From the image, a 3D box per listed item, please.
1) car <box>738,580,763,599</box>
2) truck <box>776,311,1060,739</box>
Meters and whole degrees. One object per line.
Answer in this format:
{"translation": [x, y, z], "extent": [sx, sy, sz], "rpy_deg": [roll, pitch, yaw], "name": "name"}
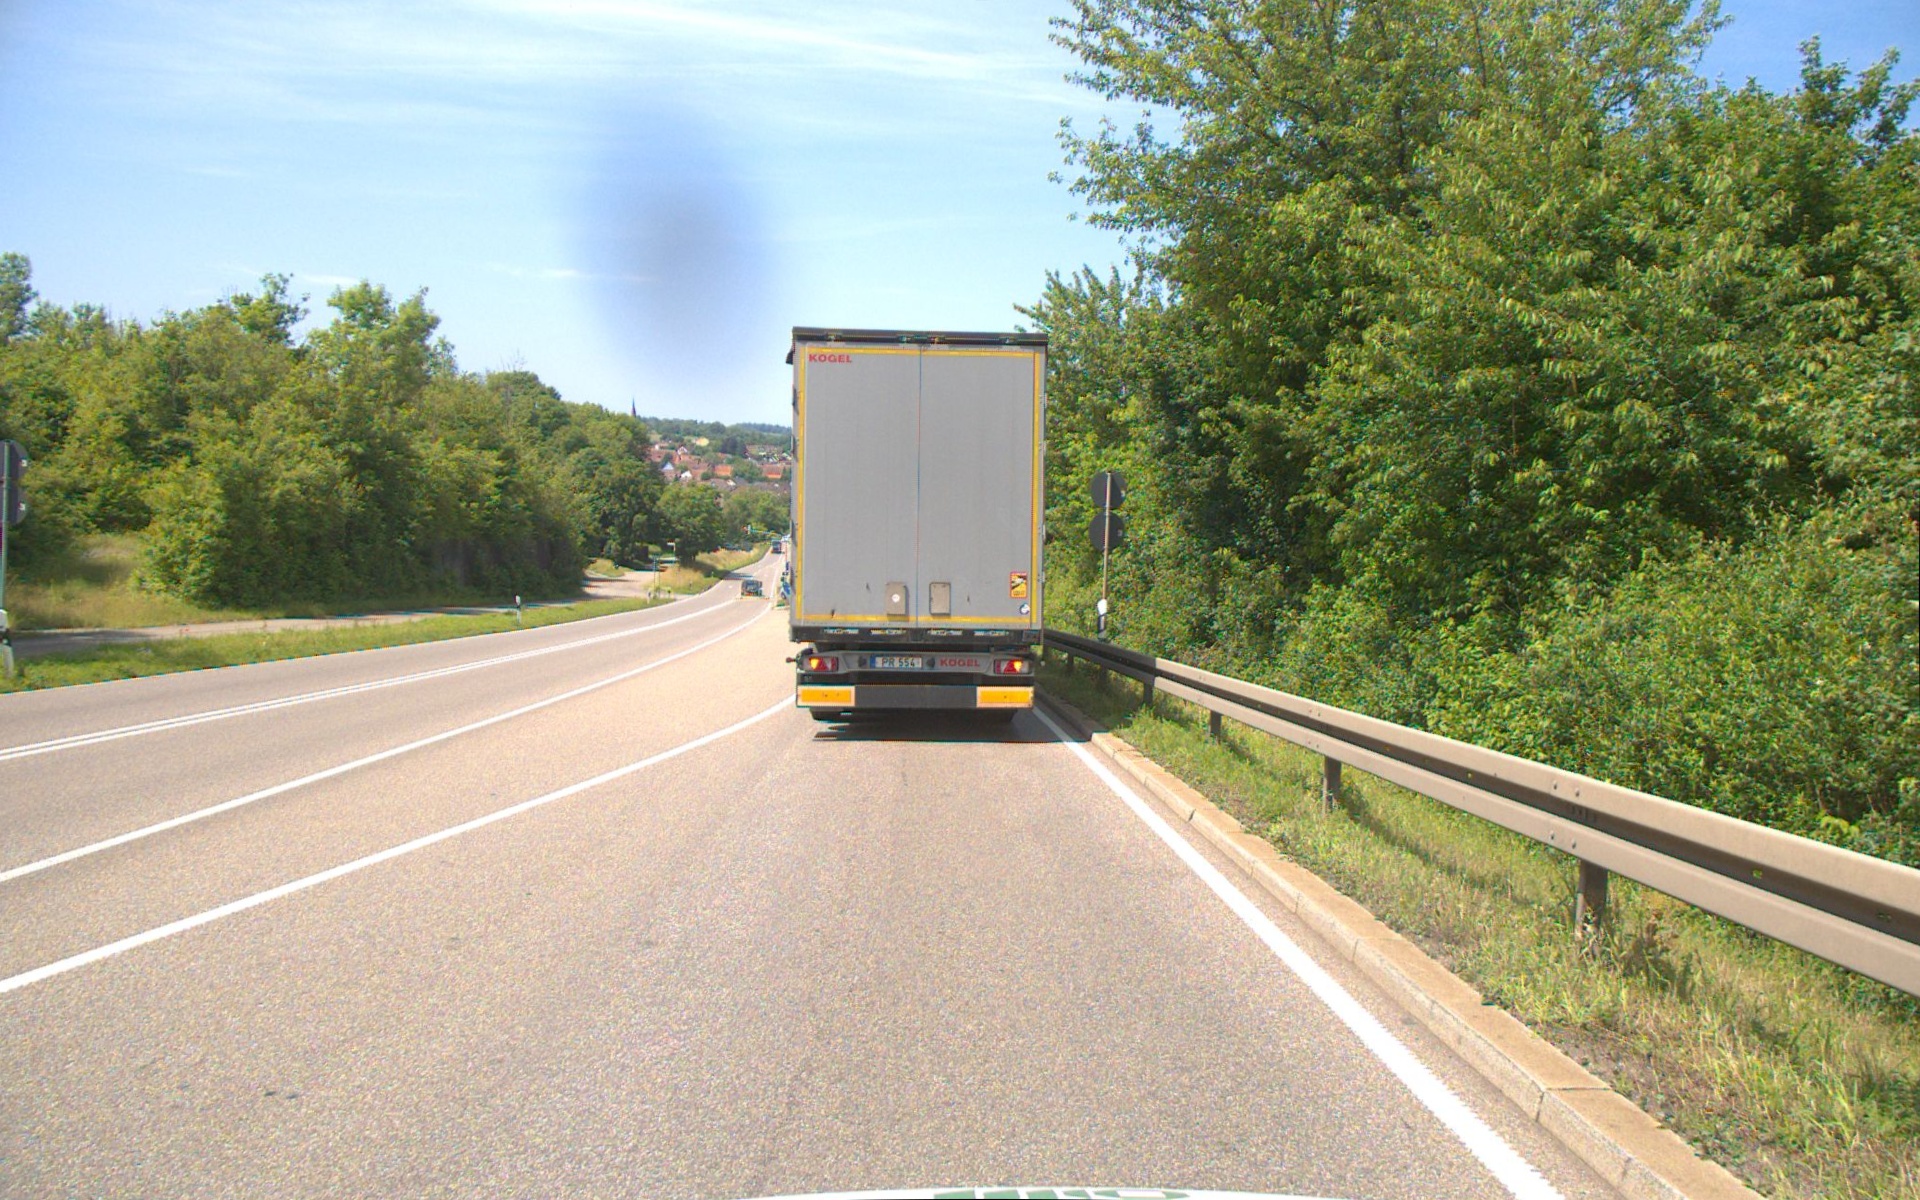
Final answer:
{"translation": [-19.853, -0.992, 156.854], "extent": [1.776, 1.825, 3.825], "rpy_deg": [1, 0, -16], "name": "car"}
{"translation": [-0.492, -0.777, 21.916], "extent": [2.701, 4.100, 11.922], "rpy_deg": [1, 0, -1], "name": "truck"}
